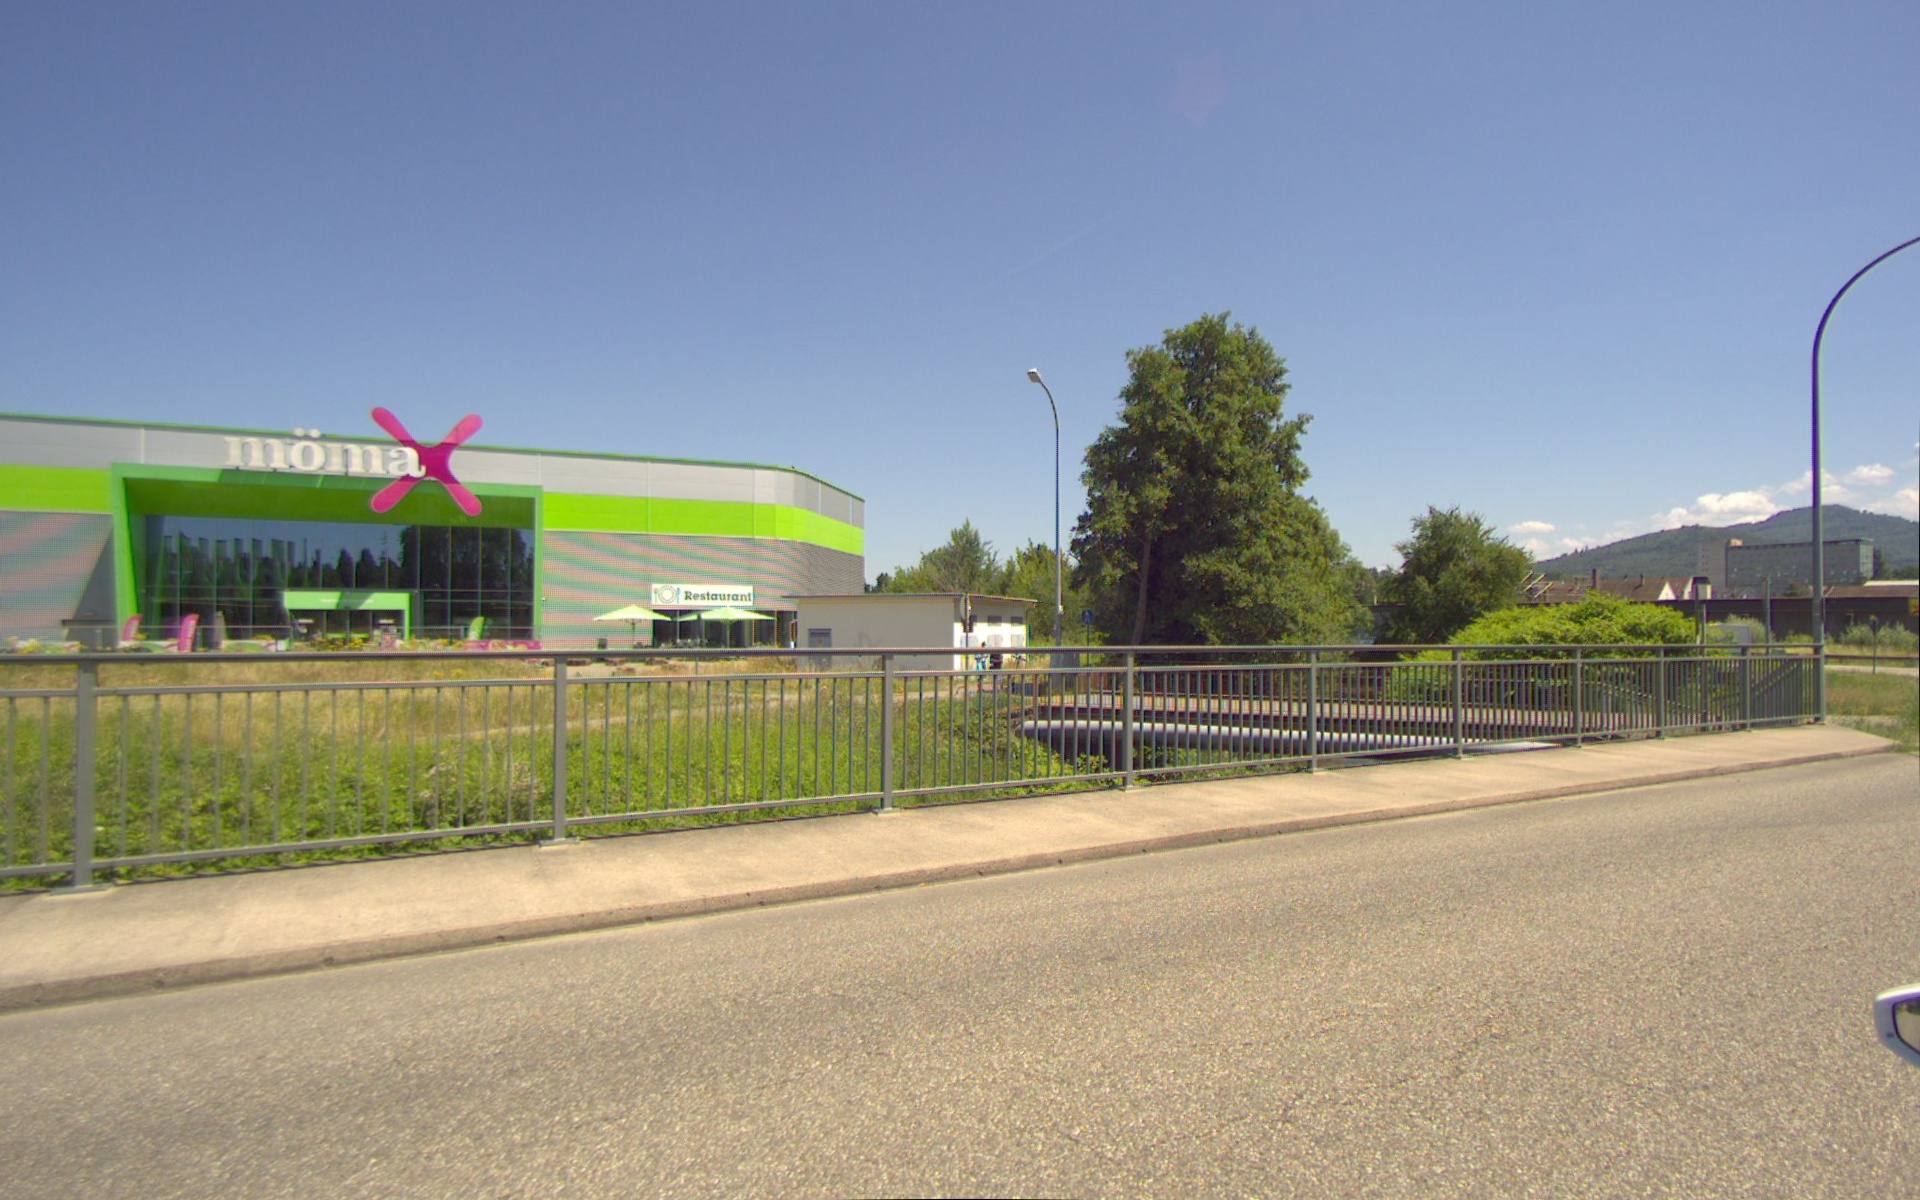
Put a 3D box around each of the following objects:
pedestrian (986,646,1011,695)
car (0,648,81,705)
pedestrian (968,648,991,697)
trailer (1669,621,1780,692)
[{"bbox_3d":[1.378,2.487,35.713,0.619,1.696,0.595,2,0,40],"label":"pedestrian"},{"bbox_3d":[-30.960,2.489,33.110,1.973,1.533,3.974,0,1,-26],"label":"car"},{"bbox_3d":[0.694,2.563,35.800,0.507,1.696,0.626,2,0,39],"label":"pedestrian"},{"bbox_3d":[24.108,1.730,31.828,1.821,2.040,3.958,1,-1,23],"label":"trailer"}]
